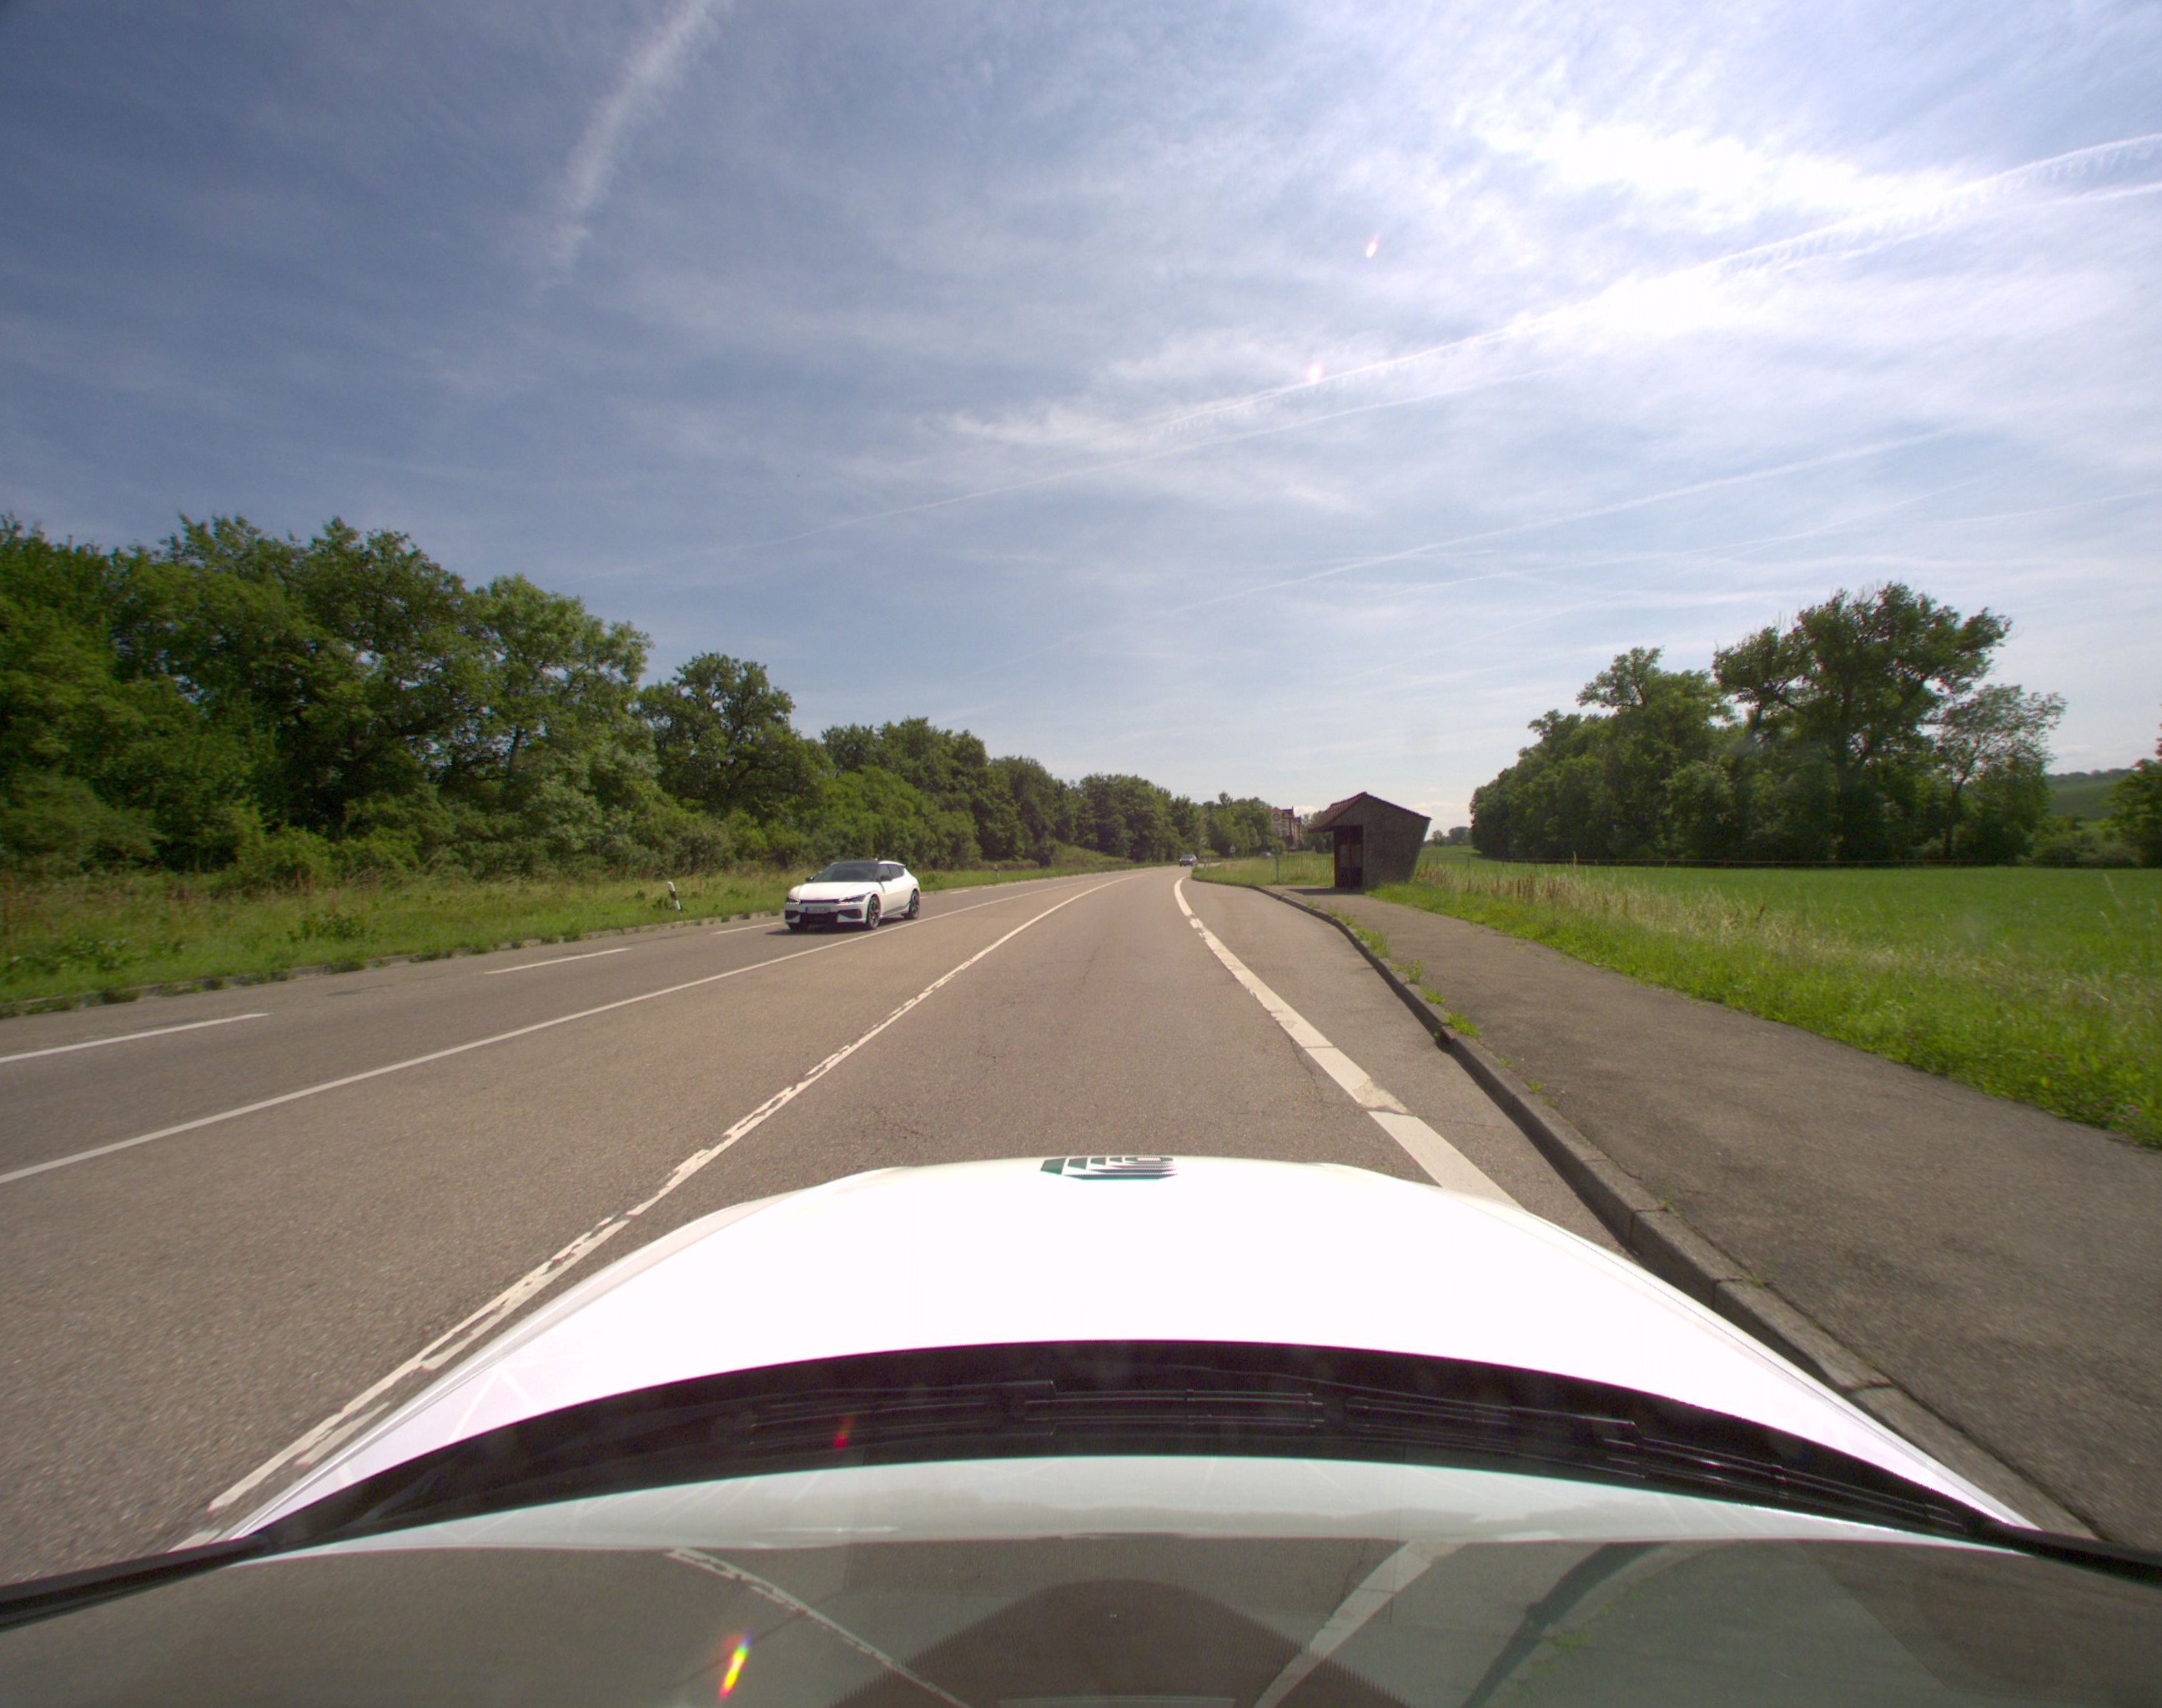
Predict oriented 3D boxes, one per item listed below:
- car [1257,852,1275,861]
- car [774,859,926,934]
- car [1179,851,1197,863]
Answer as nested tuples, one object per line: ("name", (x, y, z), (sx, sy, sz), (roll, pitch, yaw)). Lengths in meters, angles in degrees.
("car", (33.895, 0.466, 149.122), (1.974, 1.574, 4.026), (-1, -1, 34))
("car", (-5.299, 0.906, 19.394), (1.928, 1.548, 4.634), (-1, 0, 5))
("car", (13.895, 0.434, 105.422), (1.741, 1.534, 4.245), (-1, 0, 15))
